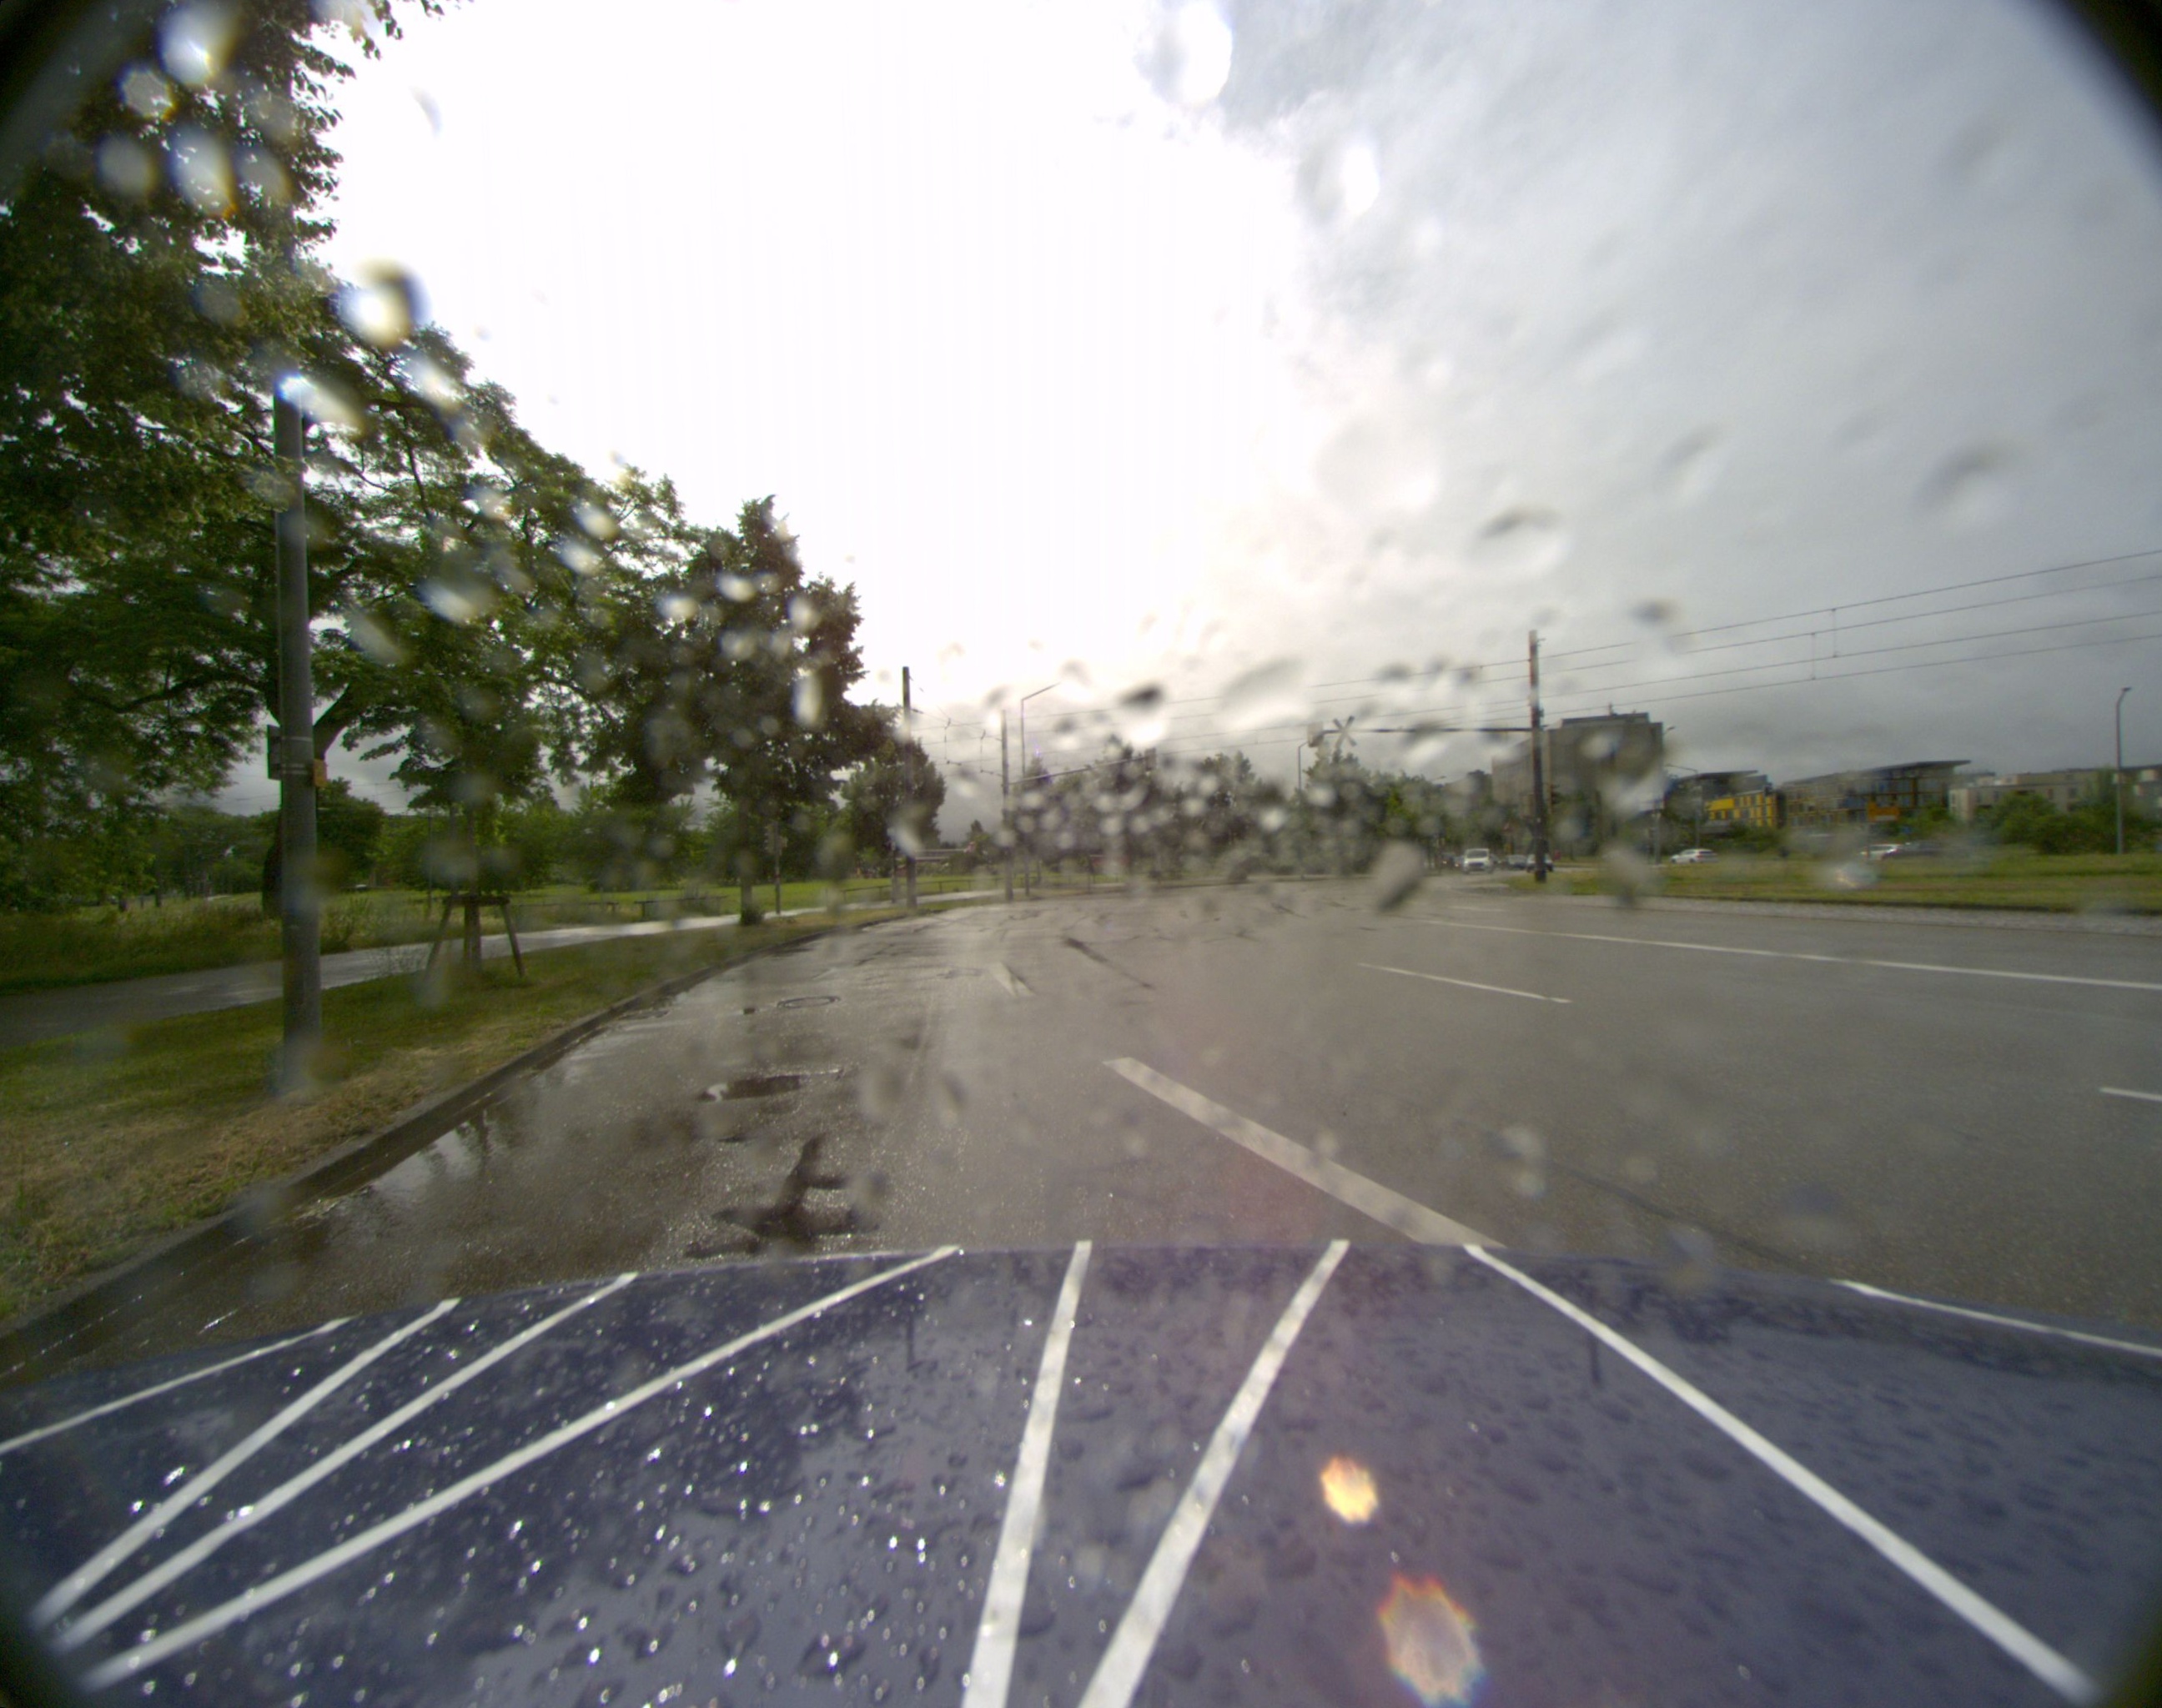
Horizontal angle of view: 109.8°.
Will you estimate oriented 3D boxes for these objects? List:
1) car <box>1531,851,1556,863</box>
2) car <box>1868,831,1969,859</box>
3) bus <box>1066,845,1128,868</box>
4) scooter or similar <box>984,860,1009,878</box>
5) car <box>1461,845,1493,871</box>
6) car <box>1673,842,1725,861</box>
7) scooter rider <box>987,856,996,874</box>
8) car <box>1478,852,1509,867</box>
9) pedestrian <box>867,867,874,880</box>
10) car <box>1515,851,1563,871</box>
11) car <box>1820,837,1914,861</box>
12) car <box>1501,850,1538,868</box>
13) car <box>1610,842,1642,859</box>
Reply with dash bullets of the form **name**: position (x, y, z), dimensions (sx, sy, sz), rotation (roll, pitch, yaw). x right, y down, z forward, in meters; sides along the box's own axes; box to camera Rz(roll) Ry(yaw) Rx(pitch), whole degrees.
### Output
- **car**: position (58.480, 0.348, 96.224), dimensions (1.732, 1.404, 4.134), rotation (-2, -2, 17)
- **car**: position (52.592, -0.535, 47.822), dimensions (1.867, 1.662, 3.818), rotation (-2, 0, -11)
- **bus**: position (2.878, 0.536, 136.307), dimensions (10.972, 3.438, 2.002), rotation (-3, -2, 7)
- **scooter or similar**: position (-10.009, 1.783, 89.738), dimensions (1.242, 2.001, 3.401), rotation (-1, -3, -37)
- **car**: position (32.234, 0.332, 61.797), dimensions (2.073, 1.975, 4.810), rotation (-2, -1, 30)
- **car**: position (54.049, -0.200, 66.550), dimensions (1.724, 1.499, 3.907), rotation (-1, 0, 8)
- **scooter rider**: position (-10.645, 1.306, 90.397), dimensions (0.707, 2.001, 0.769), rotation (-1, -2, -40)
- **car**: position (42.951, 0.549, 79.218), dimensions (1.864, 1.527, 4.493), rotation (-1, 0, 16)
- **pedestrian**: position (-27.922, 2.537, 100.679), dimensions (0.598, 1.721, 0.606), rotation (-3, -2, 19)
- **car**: position (34.891, 0.555, 58.006), dimensions (1.864, 1.372, 4.557), rotation (-3, -1, 15)
- **car**: position (56.785, -0.386, 55.009), dimensions (1.867, 1.662, 4.466), rotation (-1, 1, -10)
- **car**: position (39.937, 0.394, 69.358), dimensions (1.864, 1.527, 4.493), rotation (-1, 0, 15)
- **car**: position (58.466, -0.321, 81.569), dimensions (1.871, 1.653, 4.491), rotation (-2, -1, 23)
